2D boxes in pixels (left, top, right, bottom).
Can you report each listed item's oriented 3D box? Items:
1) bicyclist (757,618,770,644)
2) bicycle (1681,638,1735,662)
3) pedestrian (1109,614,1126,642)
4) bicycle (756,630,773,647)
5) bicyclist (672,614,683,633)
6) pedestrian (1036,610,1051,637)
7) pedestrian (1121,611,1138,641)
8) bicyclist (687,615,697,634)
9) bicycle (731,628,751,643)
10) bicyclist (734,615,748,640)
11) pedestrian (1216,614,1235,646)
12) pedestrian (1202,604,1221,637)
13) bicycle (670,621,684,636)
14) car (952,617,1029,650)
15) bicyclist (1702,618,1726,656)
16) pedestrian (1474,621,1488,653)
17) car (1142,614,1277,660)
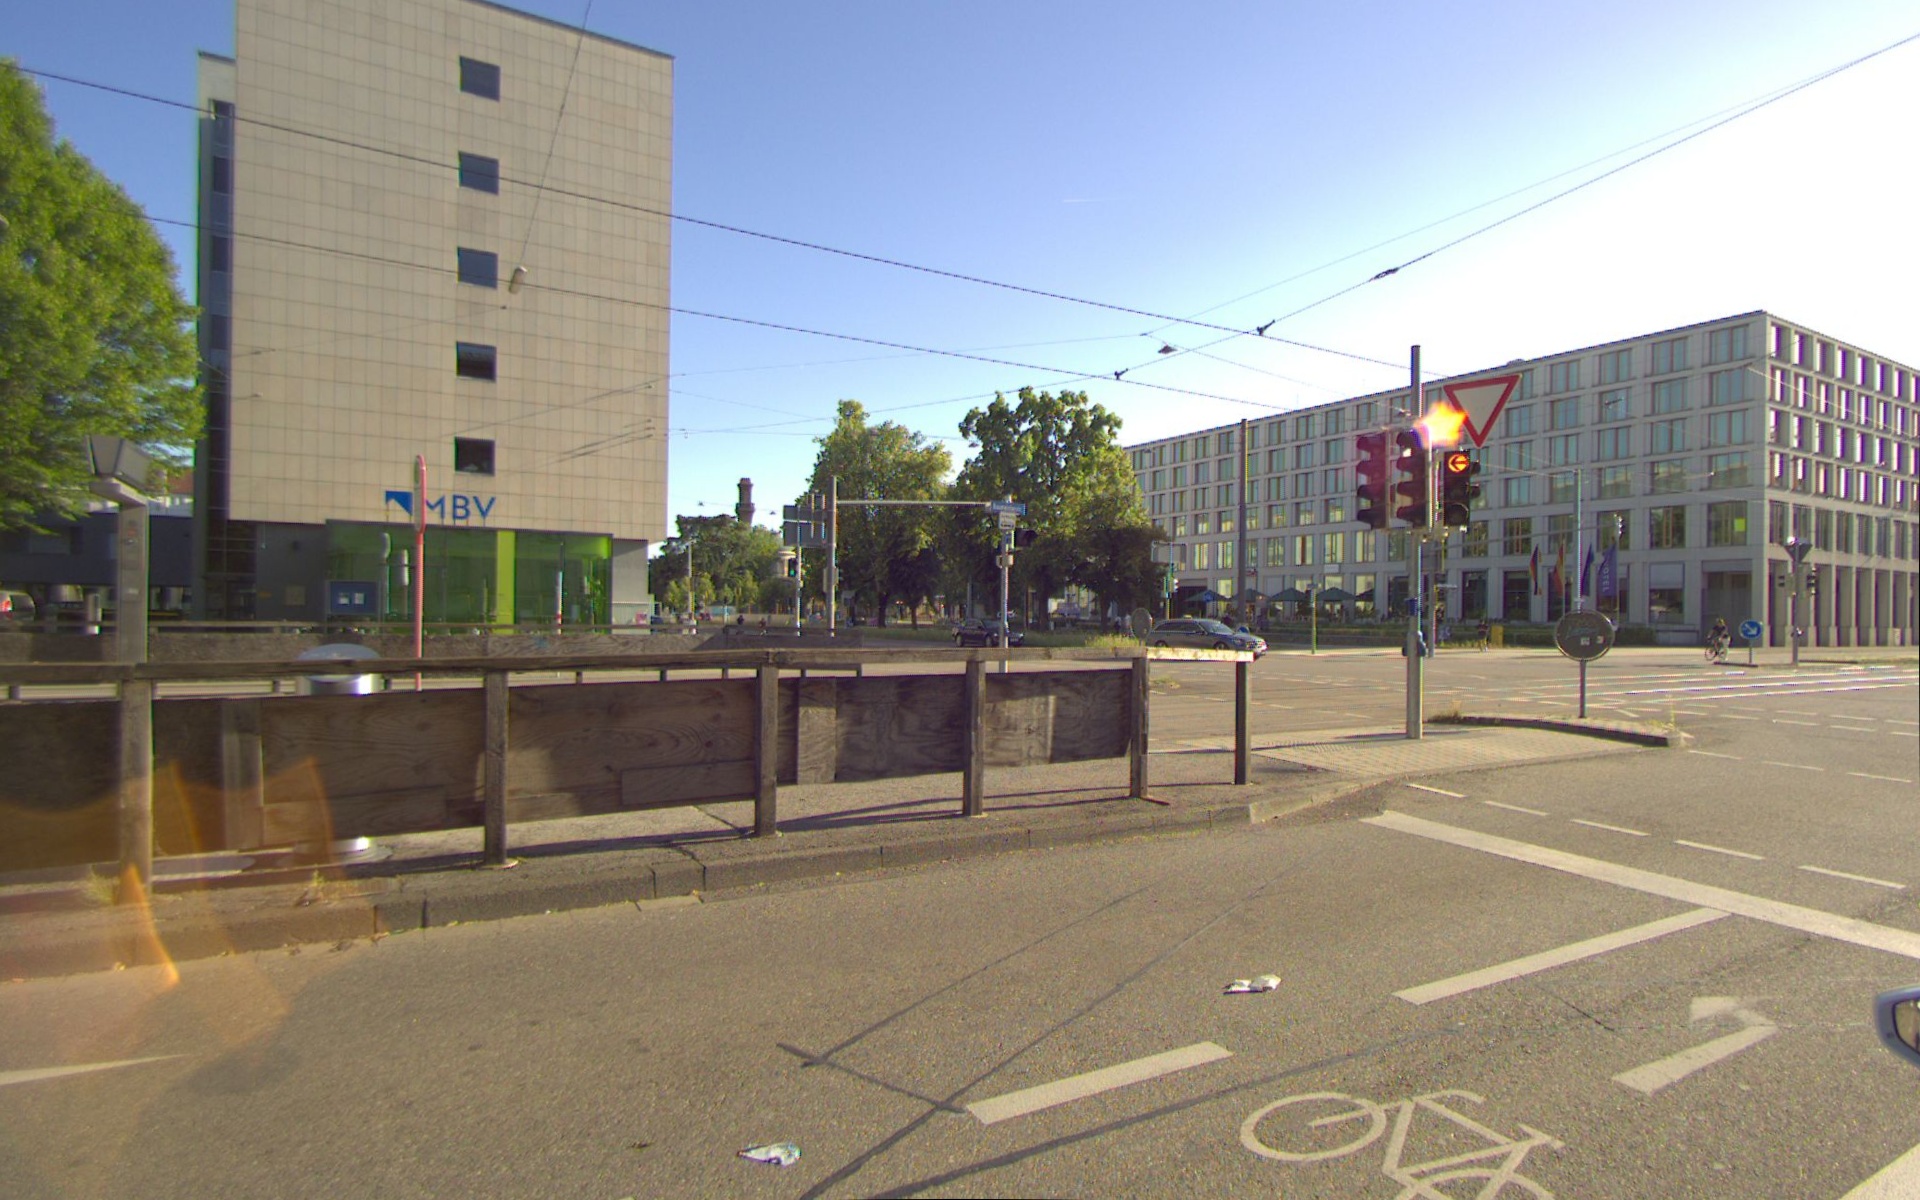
[{"bbox_3d":[-11.453,1.792,58.551,0.608,1.470,0.796,1,-1,-22],"label":"bicyclist"},{"bbox_3d":[31.757,2.117,42.688,1.833,0.947,0.760,0,-1,37],"label":"bicycle"},{"bbox_3d":[10.974,1.951,69.896,0.864,1.925,0.712,2,0,-28],"label":"pedestrian"},{"bbox_3d":[-11.404,2.248,58.601,0.636,0.947,1.739,1,-1,-23],"label":"bicycle"},{"bbox_3d":[-22.771,1.901,80.914,0.647,1.544,0.615,1,-1,-32],"label":"bicyclist"},{"bbox_3d":[6.546,1.843,78.425,0.813,2.040,0.840,2,0,-24],"label":"pedestrian"},{"bbox_3d":[11.851,1.809,70.335,0.814,2.040,0.839,2,0,-27],"label":"pedestrian"},{"bbox_3d":[-21.821,2.023,81.692,0.602,1.544,0.709,1,-1,-32],"label":"bicyclist"},{"bbox_3d":[-13.746,2.228,63.054,0.554,0.947,1.846,1,-1,-34],"label":"bicycle"},{"bbox_3d":[-13.740,1.704,63.034,0.600,1.544,0.758,1,-1,-34],"label":"bicyclist"},{"bbox_3d":[16.421,1.861,62.150,0.863,1.925,0.713,2,0,-25],"label":"pedestrian"},{"bbox_3d":[16.203,1.308,64.628,0.812,2.040,0.841,2,0,-20],"label":"pedestrian"},{"bbox_3d":[-22.817,2.297,80.940,0.574,1.148,1.776,1,-1,-31],"label":"bicycle"},{"bbox_3d":[1.474,1.648,50.045,1.647,1.474,4.392,1,0,-32],"label":"car"},{"bbox_3d":[31.941,1.564,42.552,0.765,1.610,0.759,0,-1,36],"label":"bicyclist"},{"bbox_3d":[26.937,1.908,51.896,0.580,1.610,0.776,0,-1,31],"label":"pedestrian"},{"bbox_3d":[9.088,1.312,36.910,1.880,1.586,4.760,1,-1,-35],"label":"car"}]
